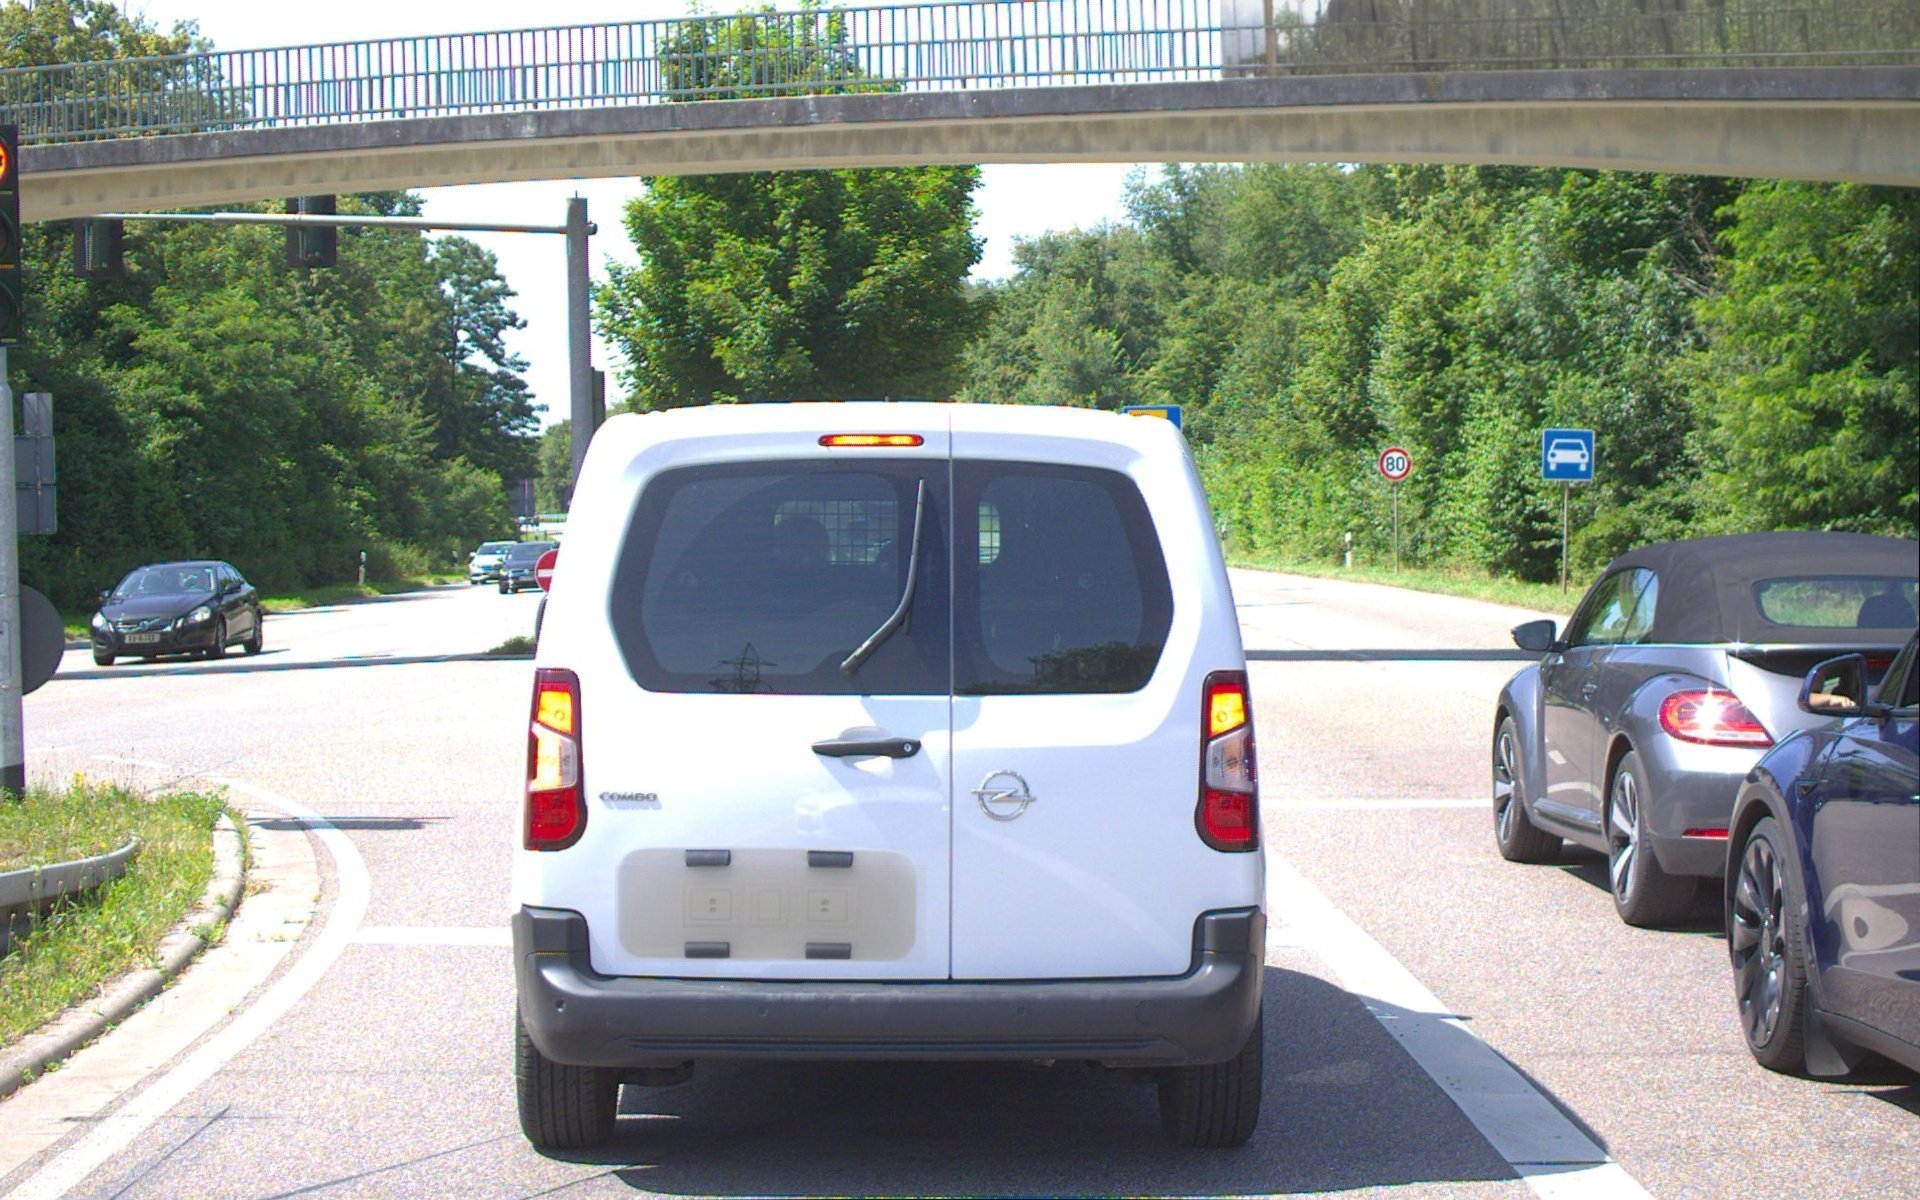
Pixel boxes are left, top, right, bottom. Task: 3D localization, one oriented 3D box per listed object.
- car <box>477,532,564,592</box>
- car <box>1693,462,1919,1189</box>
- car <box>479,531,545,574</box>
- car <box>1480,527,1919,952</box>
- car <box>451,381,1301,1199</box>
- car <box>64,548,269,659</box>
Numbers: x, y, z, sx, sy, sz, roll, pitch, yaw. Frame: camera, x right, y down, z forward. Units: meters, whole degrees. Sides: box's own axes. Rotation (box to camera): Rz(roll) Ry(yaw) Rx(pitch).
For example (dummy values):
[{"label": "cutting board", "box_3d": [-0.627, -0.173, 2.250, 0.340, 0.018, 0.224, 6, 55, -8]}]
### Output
[{"label": "car", "box_3d": [-12.813, -1.123, 100.346, 1.993, 1.659, 4.000, -1, 1, 0]}, {"label": "car", "box_3d": [3.122, 0.516, 7.847, 1.900, 1.639, 4.520, 1, 1, 0]}, {"label": "car", "box_3d": [-15.572, -1.658, 119.711, 1.752, 1.402, 4.000, -1, 1, 0]}, {"label": "car", "box_3d": [3.385, 0.455, 14.048, 1.900, 1.472, 3.939, 1, 1, 0]}, {"label": "car", "box_3d": [-0.219, 0.373, 9.542, 1.849, 1.819, 3.982, 1, 2, -1]}, {"label": "car", "box_3d": [-11.533, 0.020, 50.247, 2.008, 1.455, 4.055, -2, 1, 0]}]
